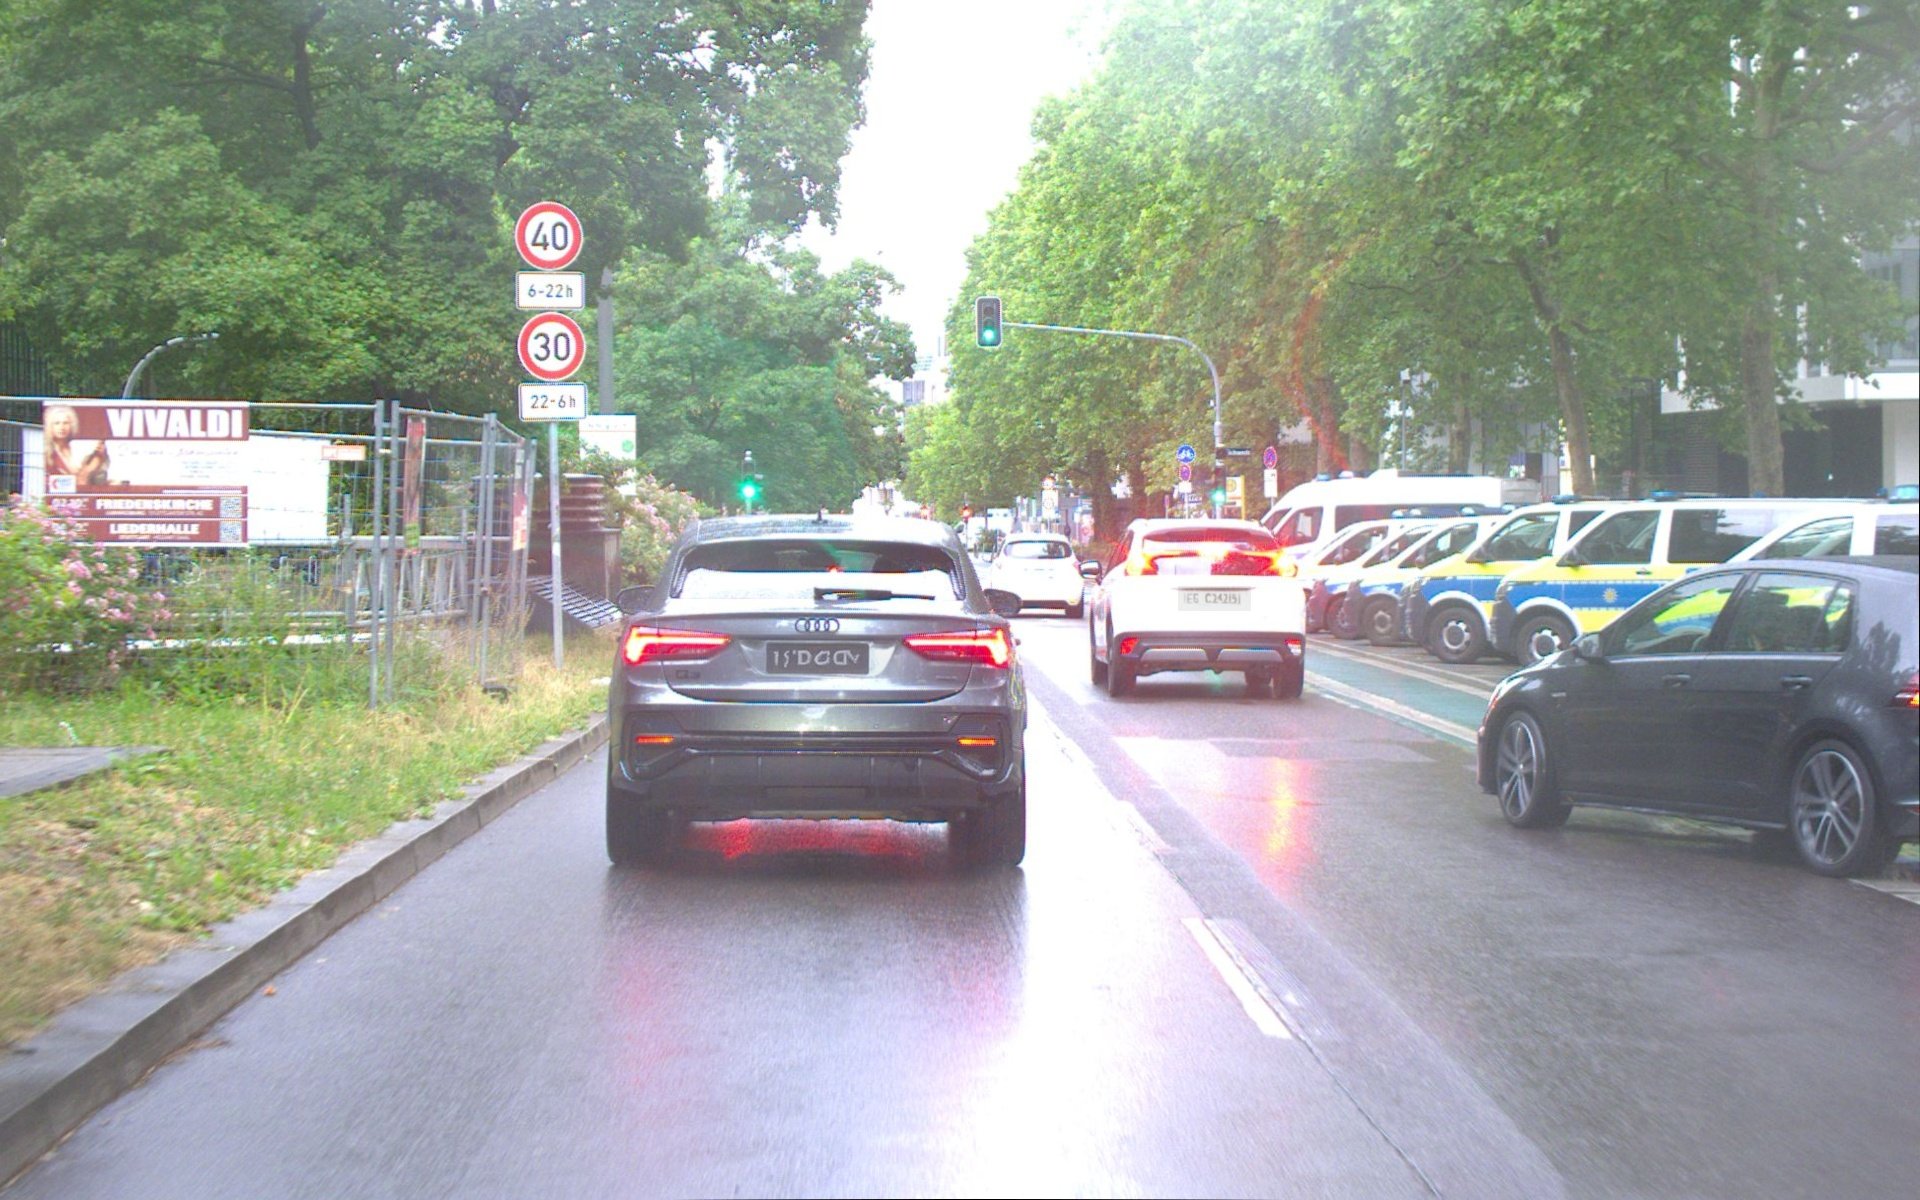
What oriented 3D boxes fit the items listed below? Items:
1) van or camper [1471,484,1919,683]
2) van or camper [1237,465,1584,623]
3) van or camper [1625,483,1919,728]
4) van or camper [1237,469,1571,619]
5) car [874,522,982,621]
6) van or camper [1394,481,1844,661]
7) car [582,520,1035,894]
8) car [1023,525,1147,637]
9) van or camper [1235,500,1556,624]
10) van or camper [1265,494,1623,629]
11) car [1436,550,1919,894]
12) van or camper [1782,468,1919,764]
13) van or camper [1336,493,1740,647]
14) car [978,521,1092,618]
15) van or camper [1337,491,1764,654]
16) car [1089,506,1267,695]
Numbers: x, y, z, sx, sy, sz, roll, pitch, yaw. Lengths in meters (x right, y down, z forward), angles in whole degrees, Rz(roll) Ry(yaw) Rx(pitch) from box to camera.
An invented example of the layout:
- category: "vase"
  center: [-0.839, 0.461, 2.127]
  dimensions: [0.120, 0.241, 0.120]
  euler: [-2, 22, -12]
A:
- category: "van or camper"
  center: [8.049, -0.214, 36.536]
  dimensions: [4.849, 1.991, 1.864]
  euler: [1, 1, 36]
- category: "van or camper"
  center: [7.905, -0.999, 60.661]
  dimensions: [5.804, 2.671, 1.996]
  euler: [1, 1, 35]
- category: "van or camper"
  center: [8.513, 0.052, 29.574]
  dimensions: [5.082, 2.012, 1.993]
  euler: [2, 2, 36]
- category: "van or camper"
  center: [8.181, -1.058, 63.681]
  dimensions: [5.809, 2.668, 2.143]
  euler: [1, 1, 37]
- category: "car"
  center: [-0.553, -0.497, 56.722]
  dimensions: [1.721, 1.572, 3.962]
  euler: [0, 1, -1]
- category: "van or camper"
  center: [7.713, -0.361, 40.456]
  dimensions: [4.789, 2.004, 1.996]
  euler: [1, 1, 35]
- category: "car"
  center: [-0.620, 0.391, 16.431]
  dimensions: [1.863, 1.527, 4.527]
  euler: [0, 1, 0]
- category: "car"
  center: [2.003, -0.345, 56.104]
  dimensions: [1.822, 1.744, 4.000]
  euler: [0, 1, -1]
- category: "van or camper"
  center: [7.314, -0.629, 57.957]
  dimensions: [5.010, 2.007, 1.996]
  euler: [0, 0, 35]
- category: "van or camper"
  center: [7.600, -0.622, 54.187]
  dimensions: [5.202, 1.985, 1.996]
  euler: [2, 1, 34]
- category: "car"
  center: [4.117, 0.489, 16.494]
  dimensions: [1.765, 1.408, 4.001]
  euler: [-1, 2, -24]
- category: "van or camper"
  center: [8.258, 0.141, 23.005]
  dimensions: [4.942, 1.985, 1.998]
  euler: [2, 1, 37]
- category: "van or camper"
  center: [7.927, -0.454, 47.413]
  dimensions: [5.102, 2.018, 2.102]
  euler: [1, 2, 37]
- category: "car"
  center: [1.383, -0.595, 64.627]
  dimensions: [1.993, 1.744, 4.000]
  euler: [0, 1, -1]
- category: "van or camper"
  center: [7.525, -0.371, 43.984]
  dimensions: [5.017, 1.988, 1.996]
  euler: [1, 1, 32]
- category: "car"
  center: [2.012, -0.032, 32.288]
  dimensions: [1.433, 1.679, 2.979]
  euler: [-1, 1, -1]
